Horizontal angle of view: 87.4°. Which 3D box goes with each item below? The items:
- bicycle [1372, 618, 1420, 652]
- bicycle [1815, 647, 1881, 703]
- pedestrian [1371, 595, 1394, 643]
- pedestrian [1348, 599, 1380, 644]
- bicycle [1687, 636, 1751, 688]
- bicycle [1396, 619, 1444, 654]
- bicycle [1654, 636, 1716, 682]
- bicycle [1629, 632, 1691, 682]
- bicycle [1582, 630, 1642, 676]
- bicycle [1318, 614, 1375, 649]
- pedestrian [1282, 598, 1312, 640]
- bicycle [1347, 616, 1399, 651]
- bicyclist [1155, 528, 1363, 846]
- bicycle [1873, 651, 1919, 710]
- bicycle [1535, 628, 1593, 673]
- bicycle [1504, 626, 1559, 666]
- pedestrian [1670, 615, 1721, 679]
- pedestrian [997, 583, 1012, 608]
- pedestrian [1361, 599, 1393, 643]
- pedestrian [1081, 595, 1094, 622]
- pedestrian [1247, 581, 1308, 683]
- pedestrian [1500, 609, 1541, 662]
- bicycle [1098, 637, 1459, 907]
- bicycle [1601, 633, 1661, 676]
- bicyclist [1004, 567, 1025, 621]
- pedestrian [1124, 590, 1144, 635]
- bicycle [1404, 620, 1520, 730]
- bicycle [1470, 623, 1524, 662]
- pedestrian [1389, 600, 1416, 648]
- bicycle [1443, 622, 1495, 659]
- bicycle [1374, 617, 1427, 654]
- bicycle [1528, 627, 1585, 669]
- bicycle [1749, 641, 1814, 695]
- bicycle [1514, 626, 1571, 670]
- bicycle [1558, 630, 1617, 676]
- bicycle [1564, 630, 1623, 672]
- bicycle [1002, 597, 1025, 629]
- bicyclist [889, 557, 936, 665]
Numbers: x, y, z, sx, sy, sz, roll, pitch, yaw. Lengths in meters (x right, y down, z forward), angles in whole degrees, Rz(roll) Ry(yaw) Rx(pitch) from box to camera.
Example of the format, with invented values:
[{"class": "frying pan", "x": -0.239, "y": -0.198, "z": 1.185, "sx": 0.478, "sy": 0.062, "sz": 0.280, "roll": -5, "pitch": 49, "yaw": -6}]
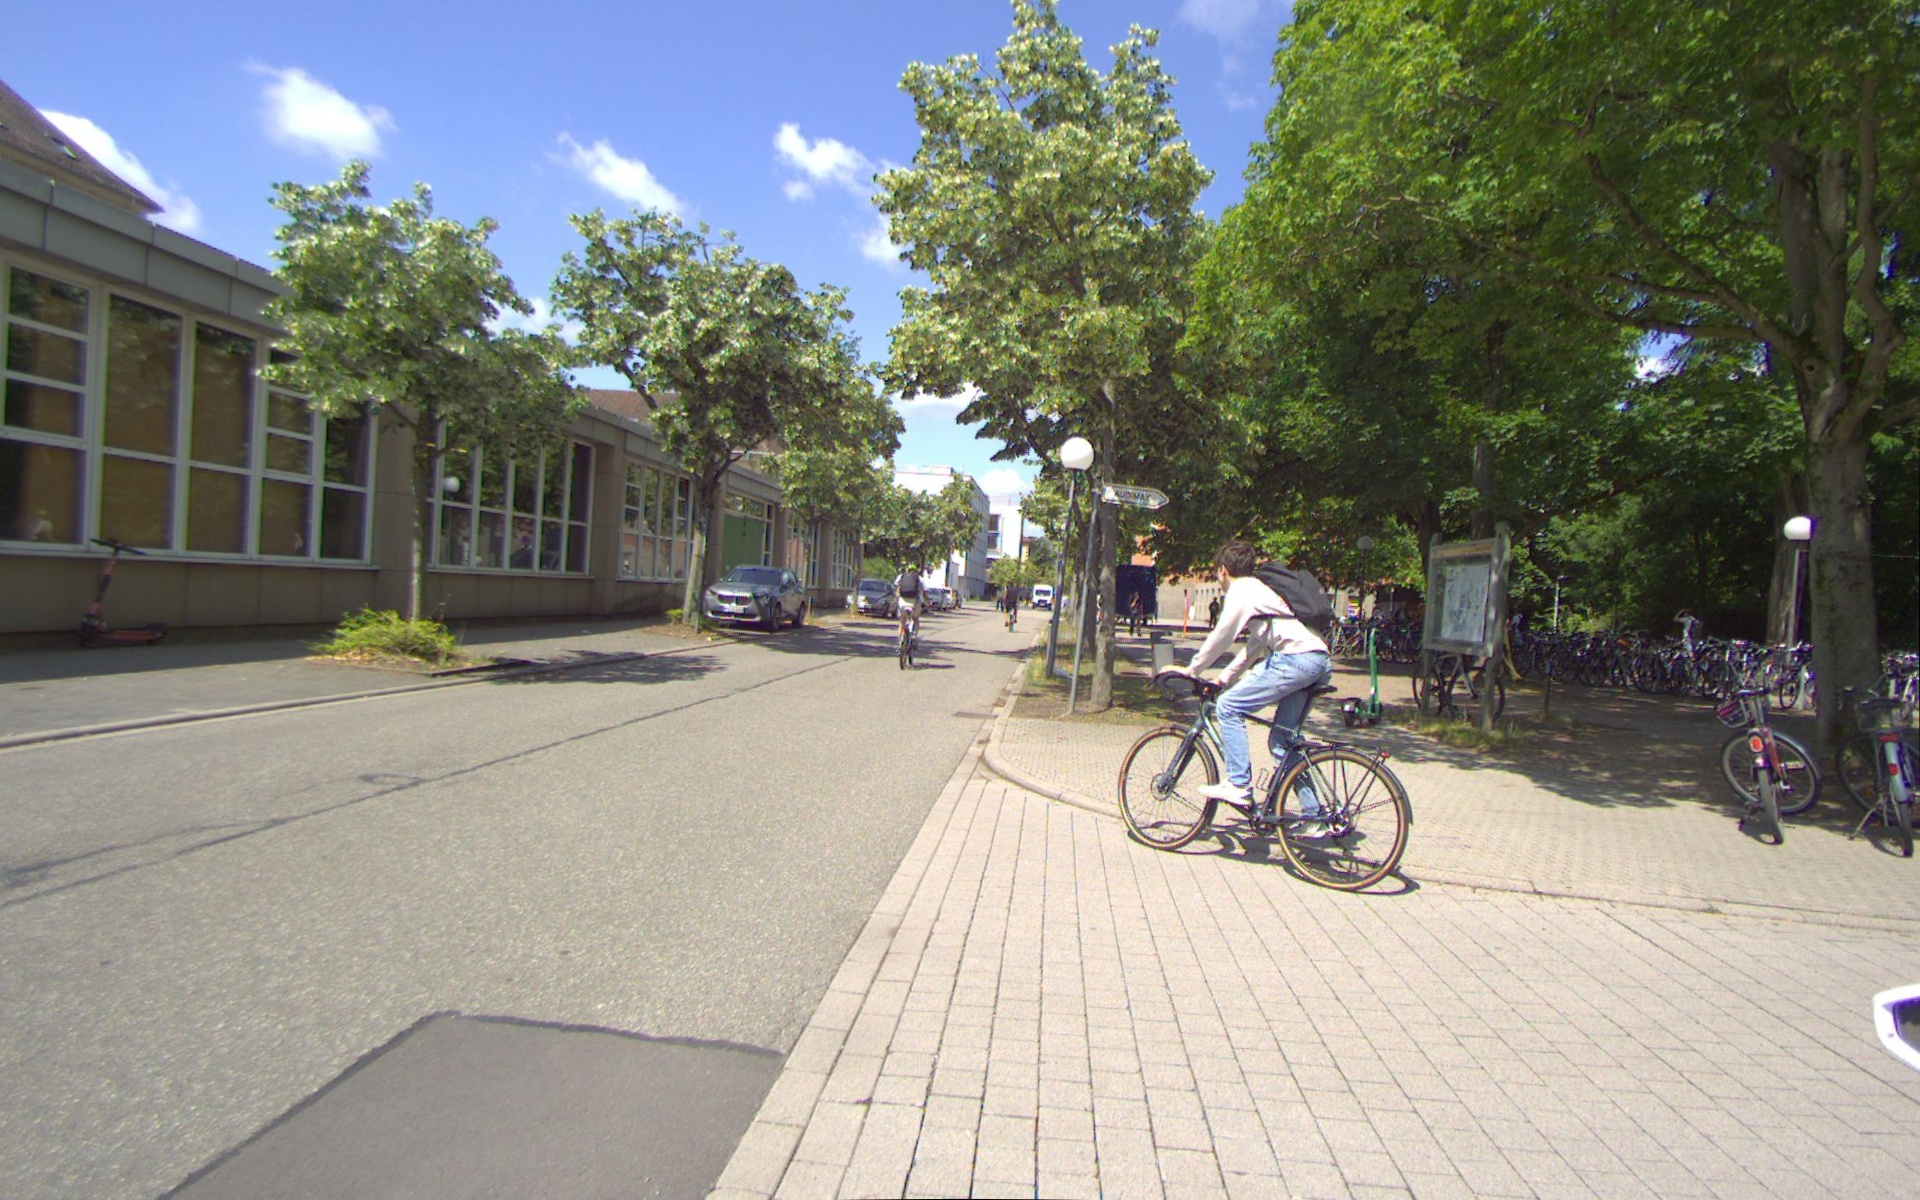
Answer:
[{"class": "bicycle", "x": 15.640, "y": 1.252, "z": 36.016, "sx": 1.676, "sy": 1.098, "sz": 0.471, "roll": 4, "pitch": 2, "yaw": -24}, {"class": "bicycle", "x": 18.710, "y": 1.592, "z": 21.158, "sx": 1.839, "sy": 1.098, "sz": 0.470, "roll": 3, "pitch": 2, "yaw": -32}, {"class": "pedestrian", "x": 16.439, "y": 0.730, "z": 39.129, "sx": 0.493, "sy": 1.795, "sz": 0.671, "roll": 4, "pitch": 2, "yaw": 2}, {"class": "pedestrian", "x": 16.979, "y": 0.881, "z": 42.217, "sx": 0.757, "sy": 1.798, "sz": 0.905, "roll": 4, "pitch": 2, "yaw": -12}, {"class": "bicycle", "x": 17.468, "y": 1.429, "z": 23.100, "sx": 1.839, "sy": 1.098, "sz": 0.470, "roll": 3, "pitch": 2, "yaw": -32}, {"class": "bicycle", "x": 16.073, "y": 1.276, "z": 35.105, "sx": 1.676, "sy": 1.098, "sz": 0.471, "roll": 4, "pitch": 2, "yaw": -24}, {"class": "bicycle", "x": 19.097, "y": 1.557, "z": 26.456, "sx": 1.676, "sy": 1.098, "sz": 0.471, "roll": 4, "pitch": 2, "yaw": -24}, {"class": "bicycle", "x": 16.940, "y": 1.387, "z": 24.288, "sx": 1.839, "sy": 1.098, "sz": 0.470, "roll": 3, "pitch": 2, "yaw": -32}, {"class": "bicycle", "x": 16.640, "y": 1.358, "z": 25.613, "sx": 1.839, "sy": 1.098, "sz": 0.470, "roll": 3, "pitch": 2, "yaw": -32}, {"class": "bicycle", "x": 13.698, "y": 1.106, "z": 35.596, "sx": 1.826, "sy": 1.098, "sz": 0.473, "roll": 4, "pitch": 2, "yaw": -11}, {"class": "pedestrian", "x": 15.465, "y": 0.867, "z": 46.075, "sx": 0.904, "sy": 1.798, "sz": 0.784, "roll": 4, "pitch": 2, "yaw": -12}, {"class": "bicycle", "x": 14.229, "y": 1.160, "z": 34.586, "sx": 1.835, "sy": 1.098, "sz": 0.471, "roll": 4, "pitch": 2, "yaw": -26}, {"class": "bicyclist", "x": 1.639, "y": 0.421, "z": 5.548, "sx": 0.636, "sy": 1.595, "sz": 0.864, "roll": -1, "pitch": 3, "yaw": -42}, {"class": "bicycle", "x": 19.095, "y": 1.625, "z": 20.245, "sx": 1.839, "sy": 1.098, "sz": 0.470, "roll": 3, "pitch": 2, "yaw": -32}, {"class": "bicycle", "x": 16.025, "y": 1.337, "z": 26.645, "sx": 1.839, "sy": 1.098, "sz": 0.470, "roll": 3, "pitch": 2, "yaw": -32}, {"class": "bicycle", "x": 17.377, "y": 1.394, "z": 30.543, "sx": 1.676, "sy": 1.098, "sz": 0.471, "roll": 4, "pitch": 2, "yaw": -24}, {"class": "pedestrian", "x": 21.849, "y": 1.375, "z": 29.865, "sx": 0.754, "sy": 1.798, "sz": 0.907, "roll": 4, "pitch": 2, "yaw": 6}, {"class": "pedestrian", "x": 3.320, "y": -0.324, "z": 75.011, "sx": 0.758, "sy": 1.798, "sz": 0.903, "roll": 3, "pitch": 2, "yaw": -17}, {"class": "pedestrian", "x": 18.158, "y": 0.920, "z": 43.768, "sx": 0.757, "sy": 1.826, "sz": 0.905, "roll": 4, "pitch": 2, "yaw": -12}, {"class": "pedestrian", "x": 7.521, "y": 0.489, "z": 59.191, "sx": 0.609, "sy": 1.540, "sz": 0.736, "roll": 4, "pitch": 2, "yaw": 8}, {"class": "pedestrian", "x": 5.573, "y": 0.553, "z": 17.691, "sx": 0.713, "sy": 1.706, "sz": 0.874, "roll": 4, "pitch": 1, "yaw": 2}, {"class": "pedestrian", "x": 20.013, "y": 1.266, "z": 35.874, "sx": 0.757, "sy": 1.798, "sz": 0.905, "roll": 4, "pitch": 2, "yaw": -12}, {"class": "bicycle", "x": 1.667, "y": 0.830, "z": 5.521, "sx": 0.636, "sy": 1.123, "sz": 1.797, "roll": -1, "pitch": 3, "yaw": -42}, {"class": "bicycle", "x": 18.542, "y": 1.509, "z": 27.732, "sx": 1.676, "sy": 1.098, "sz": 0.471, "roll": 4, "pitch": 2, "yaw": -24}, {"class": "bicyclist", "x": 1.995, "y": -0.216, "z": 36.818, "sx": 0.657, "sy": 1.900, "sz": 0.827, "roll": 3, "pitch": 0, "yaw": 0}, {"class": "pedestrian", "x": 6.228, "y": 0.428, "z": 36.010, "sx": 0.559, "sy": 1.540, "sz": 0.841, "roll": 4, "pitch": 2, "yaw": 7}, {"class": "bicycle", "x": 6.042, "y": 0.859, "z": 12.189, "sx": 0.385, "sy": 1.123, "sz": 1.839, "roll": 4, "pitch": 2, "yaw": 0}, {"class": "bicycle", "x": 16.846, "y": 1.345, "z": 31.502, "sx": 1.676, "sy": 1.098, "sz": 0.471, "roll": 4, "pitch": 2, "yaw": -24}, {"class": "pedestrian", "x": 17.197, "y": 0.909, "z": 39.045, "sx": 0.598, "sy": 1.798, "sz": 0.659, "roll": 4, "pitch": 2, "yaw": -1}, {"class": "bicycle", "x": 16.507, "y": 1.312, "z": 32.553, "sx": 1.676, "sy": 1.098, "sz": 0.471, "roll": 4, "pitch": 2, "yaw": -24}, {"class": "bicycle", "x": 14.664, "y": 1.180, "z": 33.454, "sx": 1.835, "sy": 1.098, "sz": 0.471, "roll": 4, "pitch": 2, "yaw": -26}, {"class": "bicycle", "x": 17.551, "y": 1.412, "z": 29.550, "sx": 1.676, "sy": 1.098, "sz": 0.471, "roll": 4, "pitch": 2, "yaw": -24}, {"class": "bicycle", "x": 18.032, "y": 1.499, "z": 22.039, "sx": 1.839, "sy": 1.098, "sz": 0.470, "roll": 3, "pitch": 2, "yaw": -32}, {"class": "bicycle", "x": 15.784, "y": 1.301, "z": 27.197, "sx": 1.839, "sy": 1.098, "sz": 0.470, "roll": 3, "pitch": 2, "yaw": -32}, {"class": "bicycle", "x": 16.392, "y": 1.388, "z": 26.227, "sx": 1.839, "sy": 1.098, "sz": 0.470, "roll": 3, "pitch": 2, "yaw": -32}, {"class": "bicycle", "x": 17.979, "y": 1.454, "z": 28.514, "sx": 1.676, "sy": 1.098, "sz": 0.471, "roll": 4, "pitch": 2, "yaw": -24}, {"class": "bicycle", "x": 1.951, "y": 0.466, "z": 36.829, "sx": 0.657, "sy": 1.123, "sz": 2.072, "roll": 3, "pitch": 0, "yaw": 0}, {"class": "bicyclist", "x": -0.826, "y": 0.190, "z": 17.760, "sx": 0.593, "sy": 1.825, "sz": 0.899, "roll": 3, "pitch": 0, "yaw": 8}]
